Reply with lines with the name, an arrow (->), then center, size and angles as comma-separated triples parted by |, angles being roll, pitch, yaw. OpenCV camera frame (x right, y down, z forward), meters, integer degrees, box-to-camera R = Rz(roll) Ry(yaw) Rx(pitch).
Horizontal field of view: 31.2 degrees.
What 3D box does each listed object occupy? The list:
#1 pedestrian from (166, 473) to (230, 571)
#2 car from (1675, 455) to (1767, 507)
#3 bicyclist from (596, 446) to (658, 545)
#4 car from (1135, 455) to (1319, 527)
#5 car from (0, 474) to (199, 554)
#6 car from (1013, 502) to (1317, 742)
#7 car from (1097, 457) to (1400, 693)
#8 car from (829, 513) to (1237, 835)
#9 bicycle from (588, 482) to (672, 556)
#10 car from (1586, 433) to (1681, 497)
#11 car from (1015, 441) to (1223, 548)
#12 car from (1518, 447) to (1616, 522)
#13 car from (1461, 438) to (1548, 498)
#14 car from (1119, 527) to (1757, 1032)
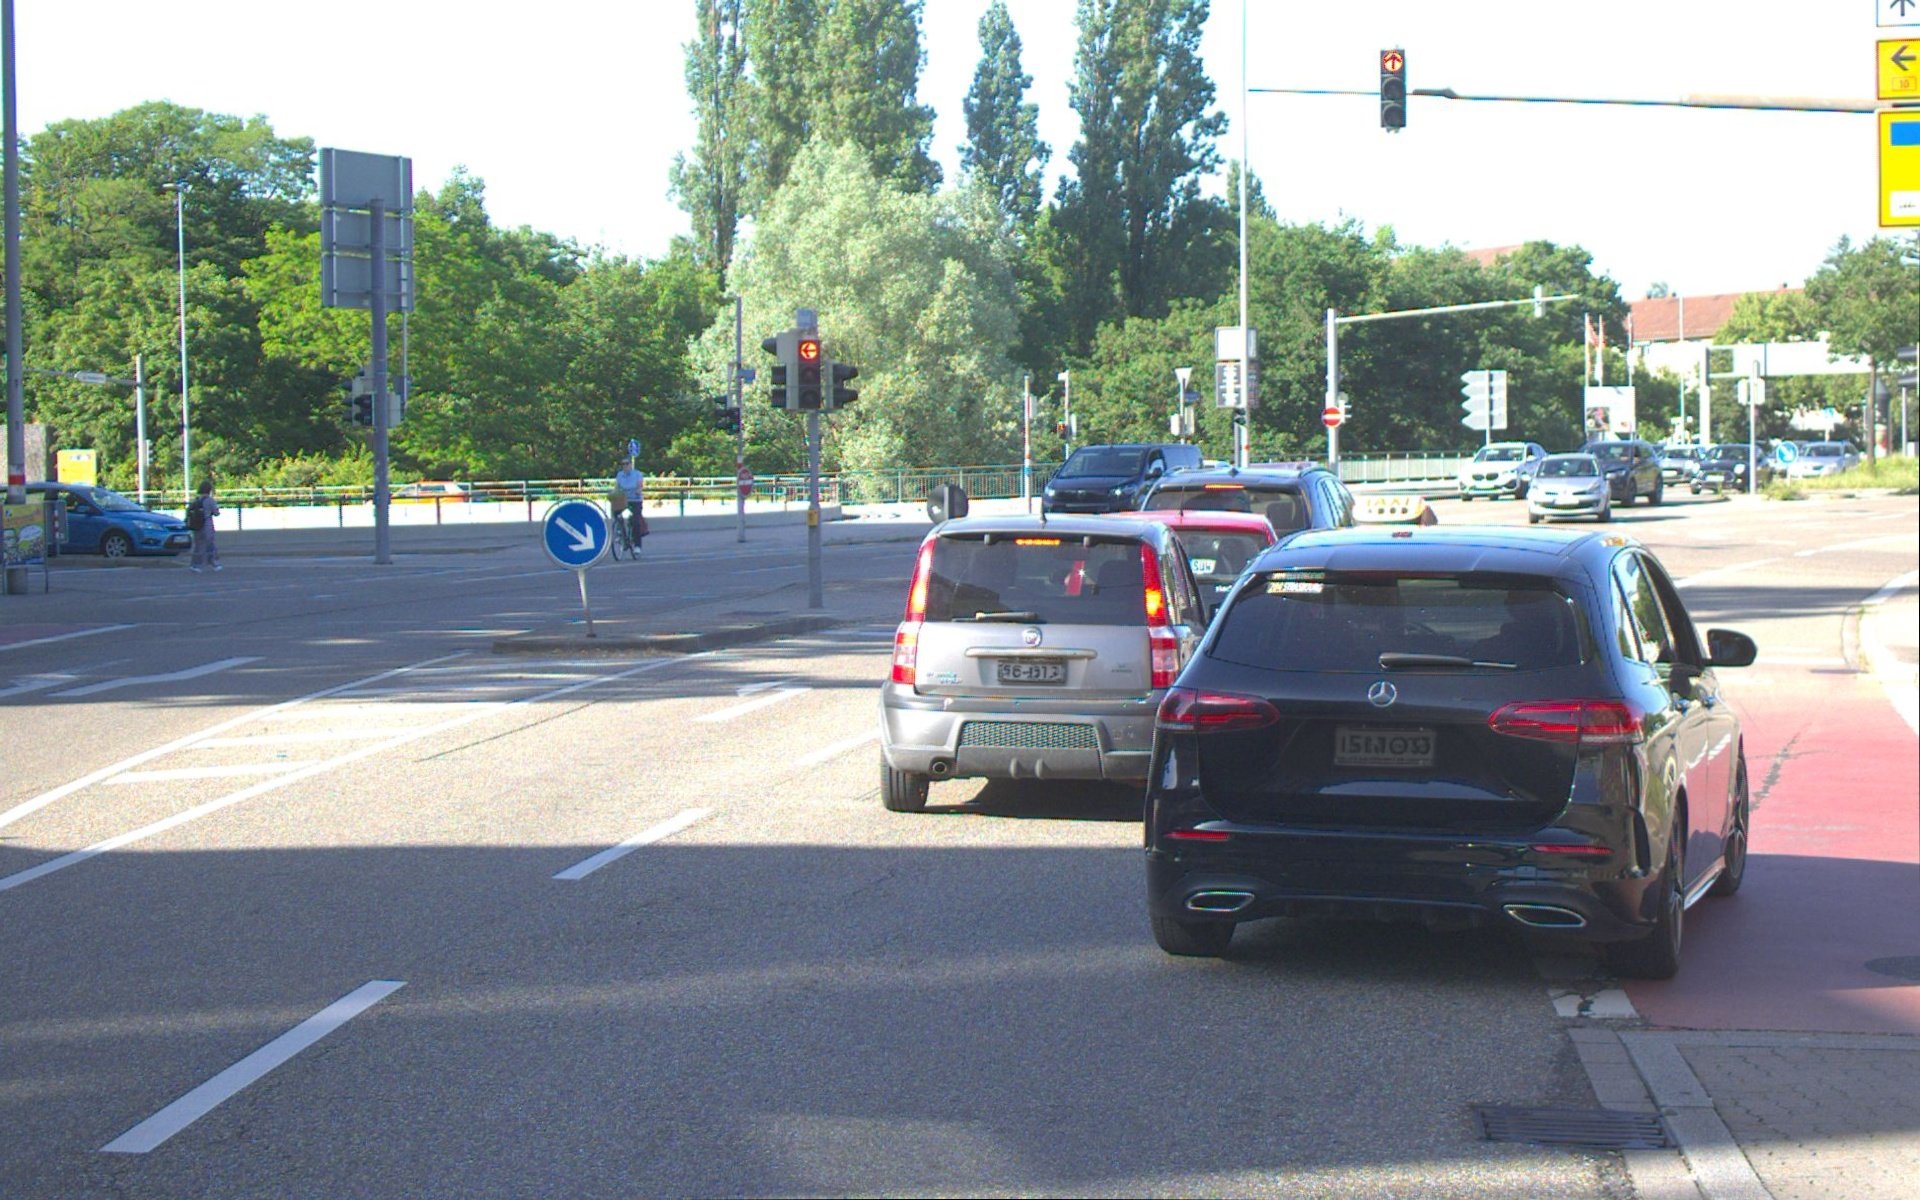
pedestrian -> -12.604, -1.280, 56.888 | 0.686, 1.533, 1.366 | 1, -3, 2
car -> 22.053, -3.466, 99.532 | 1.996, 1.448, 3.996 | 0, 2, 22
bicyclist -> -5.820, -1.839, 60.167 | 0.687, 1.695, 1.197 | 0, 3, 15
car -> 5.978, -2.443, 76.570 | 1.824, 1.498, 4.441 | 1, 3, 40
car -> -16.766, -1.609, 64.842 | 4.441, 1.433, 1.824 | 0, 2, 23
car -> 1.490, 0.079, 23.626 | 1.820, 1.474, 3.999 | 0, 2, 7
car -> 2.517, -0.290, 29.025 | 1.870, 1.784, 4.412 | 2, 3, 13
car -> 0.504, 0.304, 18.614 | 1.820, 1.484, 3.999 | 1, 2, 7
bicycle -> -5.776, -1.429, 60.333 | 0.687, 1.198, 2.326 | 0, 4, 15
car -> 17.077, -3.437, 87.100 | 1.725, 1.577, 4.000 | 0, 2, 21
car -> 3.043, -2.011, 64.632 | 1.997, 1.928, 4.845 | 1, 3, 28
car -> 13.318, -2.545, 75.284 | 1.821, 1.577, 4.101 | 0, 2, 14
car -> 15.602, -3.805, 98.439 | 1.835, 1.647, 4.625 | 0, 2, 17
car -> 1.947, 0.518, 12.919 | 1.752, 1.488, 3.997 | 2, 2, 17
